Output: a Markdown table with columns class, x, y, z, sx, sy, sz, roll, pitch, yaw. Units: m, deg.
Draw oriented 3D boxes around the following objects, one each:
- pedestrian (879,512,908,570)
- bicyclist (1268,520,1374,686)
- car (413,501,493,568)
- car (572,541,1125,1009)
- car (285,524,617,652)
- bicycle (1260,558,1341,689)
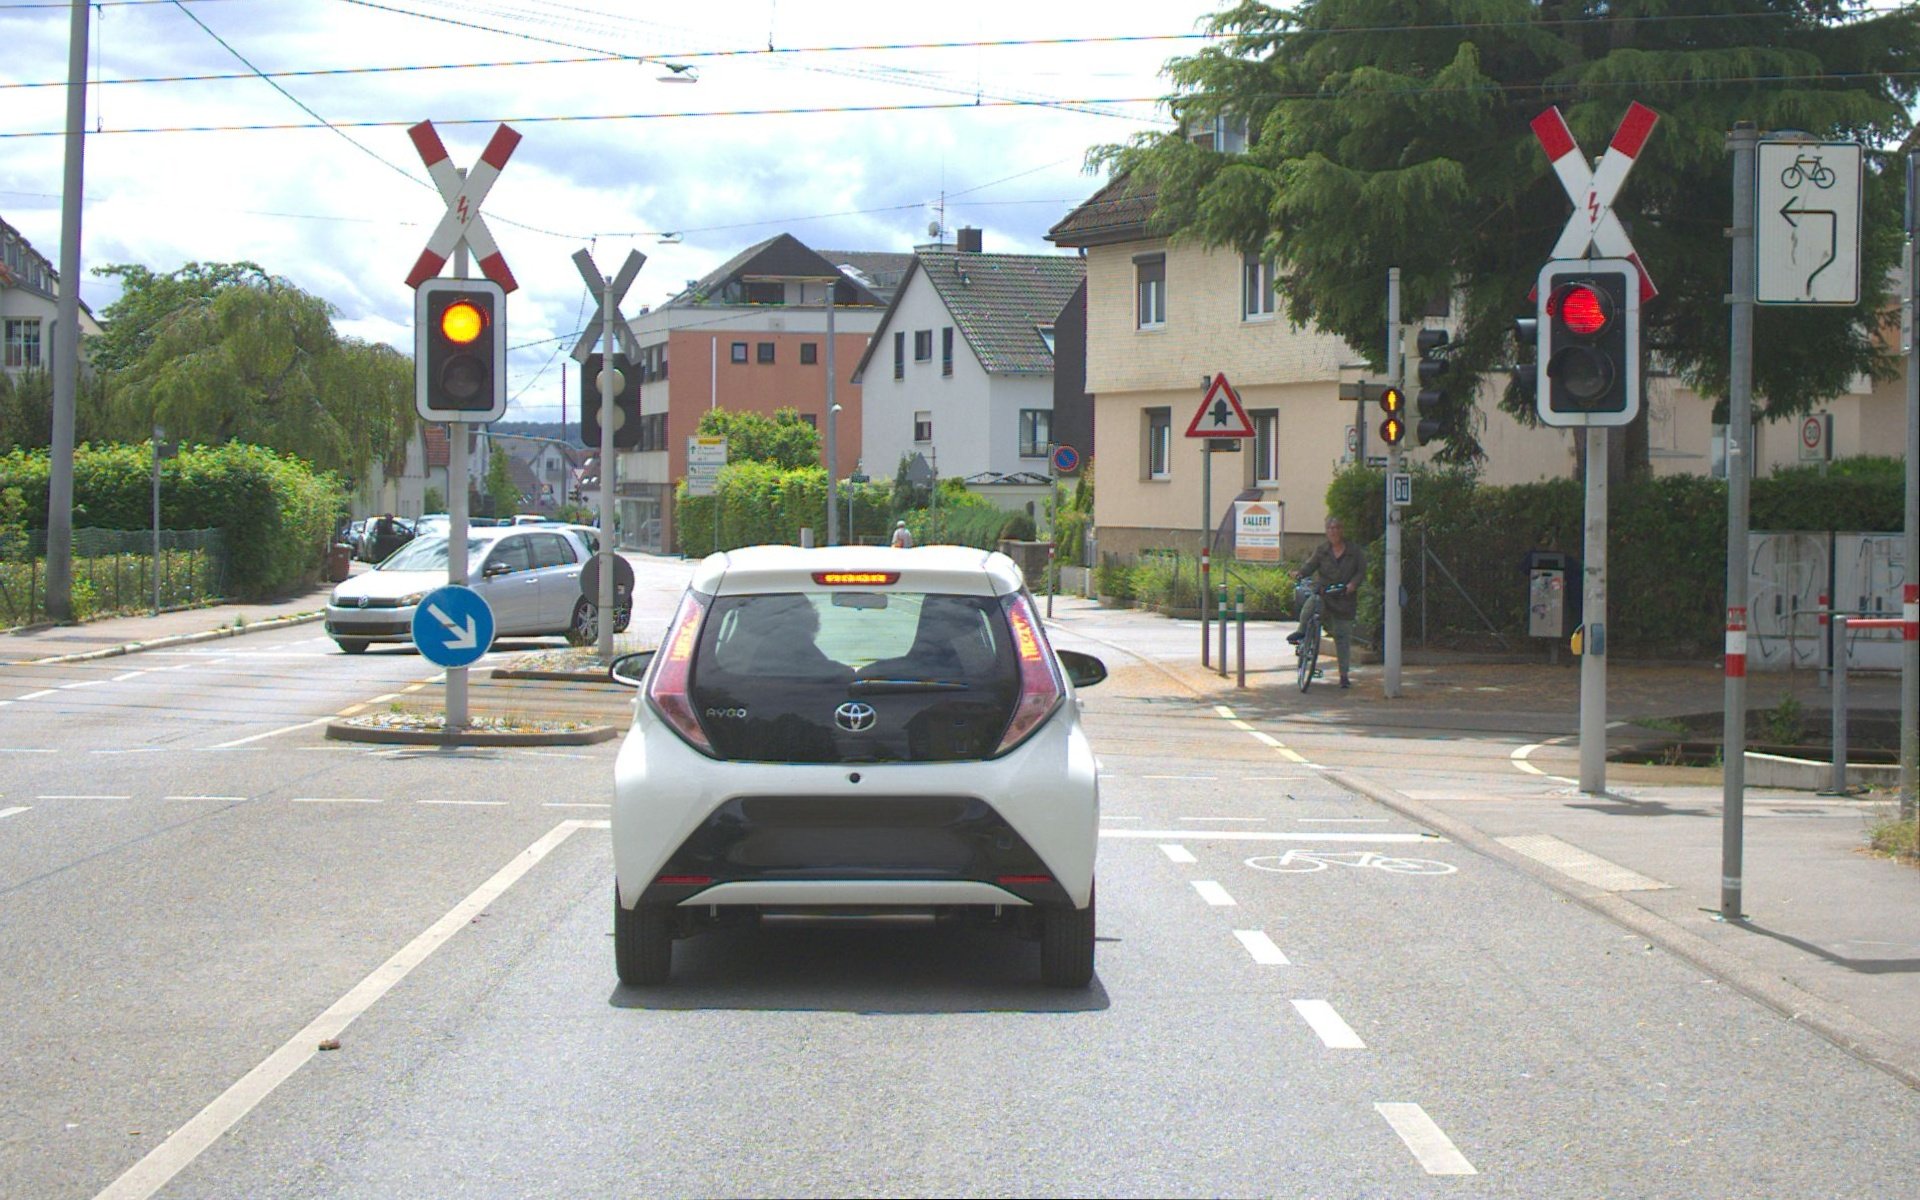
| class | x | y | z | sx | sy | sz | roll | pitch | yaw |
| --- | --- | --- | --- | --- | --- | --- | --- | --- | --- |
| pedestrian | -1.813 | -1.610 | 93.840 | 0.726 | 1.571 | 0.803 | 1 | 1 | -1 |
| bicyclist | 3.532 | 0.018 | 33.660 | 0.840 | 1.548 | 0.756 | -2 | 4 | -6 |
| car | -13.667 | -1.771 | 92.802 | 1.993 | 1.713 | 4.001 | 1 | 1 | -7 |
| car | -0.481 | 0.530 | 12.768 | 1.721 | 1.437 | 3.709 | 1 | 1 | -4 |
| car | -6.111 | -0.157 | 41.719 | 1.908 | 1.436 | 4.092 | 2 | 1 | 28 |
| bicycle | 3.339 | 0.215 | 33.790 | 0.457 | 1.168 | 1.480 | -2 | 4 | -6 |
